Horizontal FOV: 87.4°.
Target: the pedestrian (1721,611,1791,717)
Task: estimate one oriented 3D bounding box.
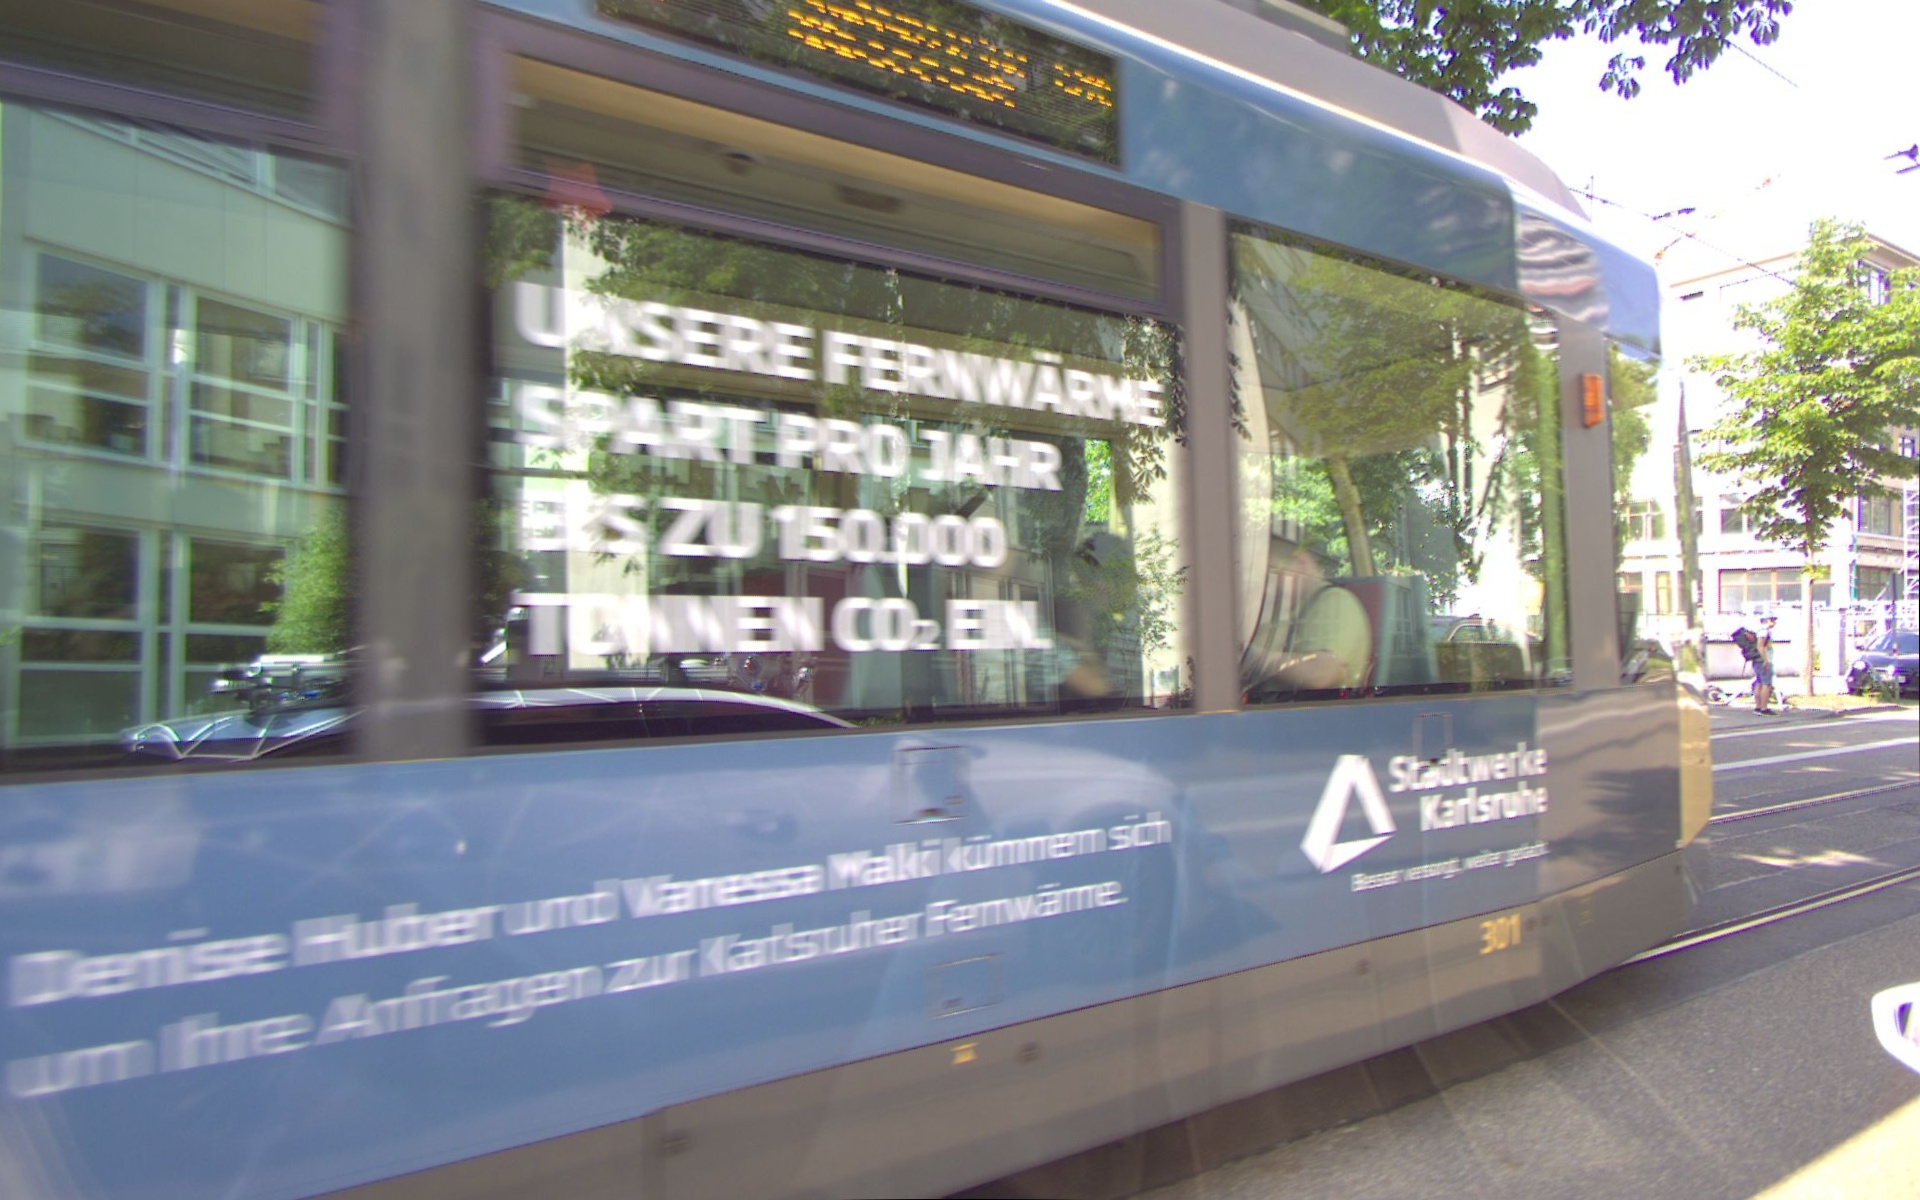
[{"bbox_3d":[14.131,1.115,17.835,0.782,1.790,0.745,1,0,-35],"label":"pedestrian"}]

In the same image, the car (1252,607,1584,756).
[{"bbox_3d":[6.284,1.010,13.629,4.666,1.687,1.741,2,0,-31],"label":"car"}]

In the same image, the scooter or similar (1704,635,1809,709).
[{"bbox_3d":[15.194,1.344,19.189,0.845,1.297,1.332,1,0,-31],"label":"scooter or similar"}]

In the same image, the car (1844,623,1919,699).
[{"bbox_3d":[21.813,1.349,22.576,4.542,1.536,1.739,2,0,-33],"label":"car"}]

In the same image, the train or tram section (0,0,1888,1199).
[{"bbox_3d":[-2.788,-0.183,1.962,13.940,3.399,2.641,2,-3,-30],"label":"train or tram section"}]
